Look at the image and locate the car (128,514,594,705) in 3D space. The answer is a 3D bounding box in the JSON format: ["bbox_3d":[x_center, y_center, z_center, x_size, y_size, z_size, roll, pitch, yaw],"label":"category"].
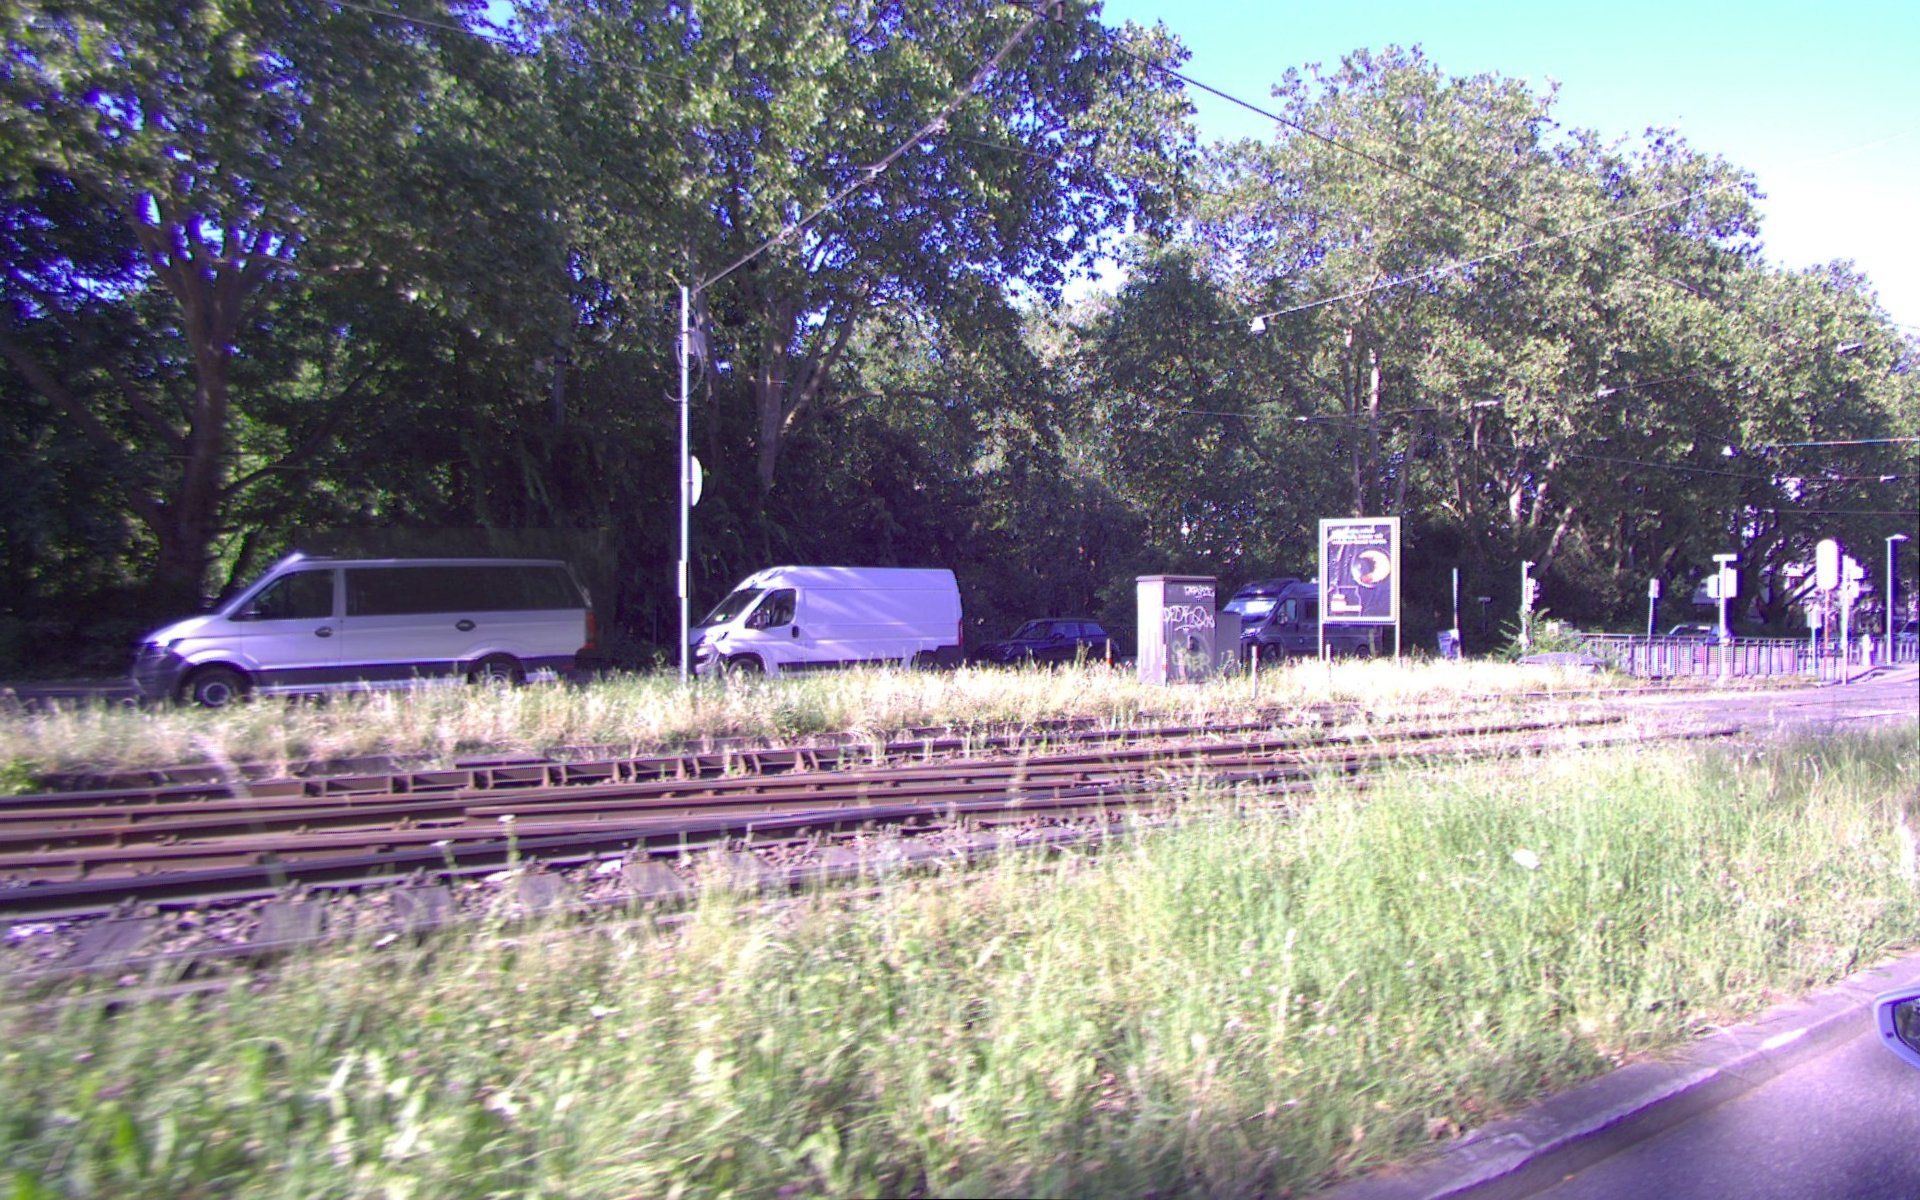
[{"bbox_3d":[-9.228,0.242,16.061,5.988,2.554,2.170,2,-3,-34],"label":"car"}]

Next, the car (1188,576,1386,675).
[{"bbox_3d":[9.373,0.778,28.575,5.969,2.554,2.171,2,-3,-34],"label":"car"}]

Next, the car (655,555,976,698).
[{"bbox_3d":[-2.802,0.592,20.560,6.210,2.554,2.169,2,-3,-35],"label":"car"}]

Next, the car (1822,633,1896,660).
[{"bbox_3d":[45.090,2.323,50.359,4.270,1.309,1.759,2,-3,-34],"label":"car"}]

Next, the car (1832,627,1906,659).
[{"bbox_3d":[46.288,2.192,51.130,4.296,1.530,1.784,2,-3,-34],"label":"car"}]

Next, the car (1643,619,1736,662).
[{"bbox_3d":[29.551,1.650,40.685,3.933,1.673,1.890,2,-3,-35],"label":"car"}]

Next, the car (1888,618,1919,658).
[{"bbox_3d":[53.615,2.121,55.692,5.037,2.152,2.055,2,-3,-34],"label":"car"}]

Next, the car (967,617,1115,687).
[{"bbox_3d":[1.942,1.222,23.805,3.233,1.532,1.641,2,-3,-35],"label":"car"}]
